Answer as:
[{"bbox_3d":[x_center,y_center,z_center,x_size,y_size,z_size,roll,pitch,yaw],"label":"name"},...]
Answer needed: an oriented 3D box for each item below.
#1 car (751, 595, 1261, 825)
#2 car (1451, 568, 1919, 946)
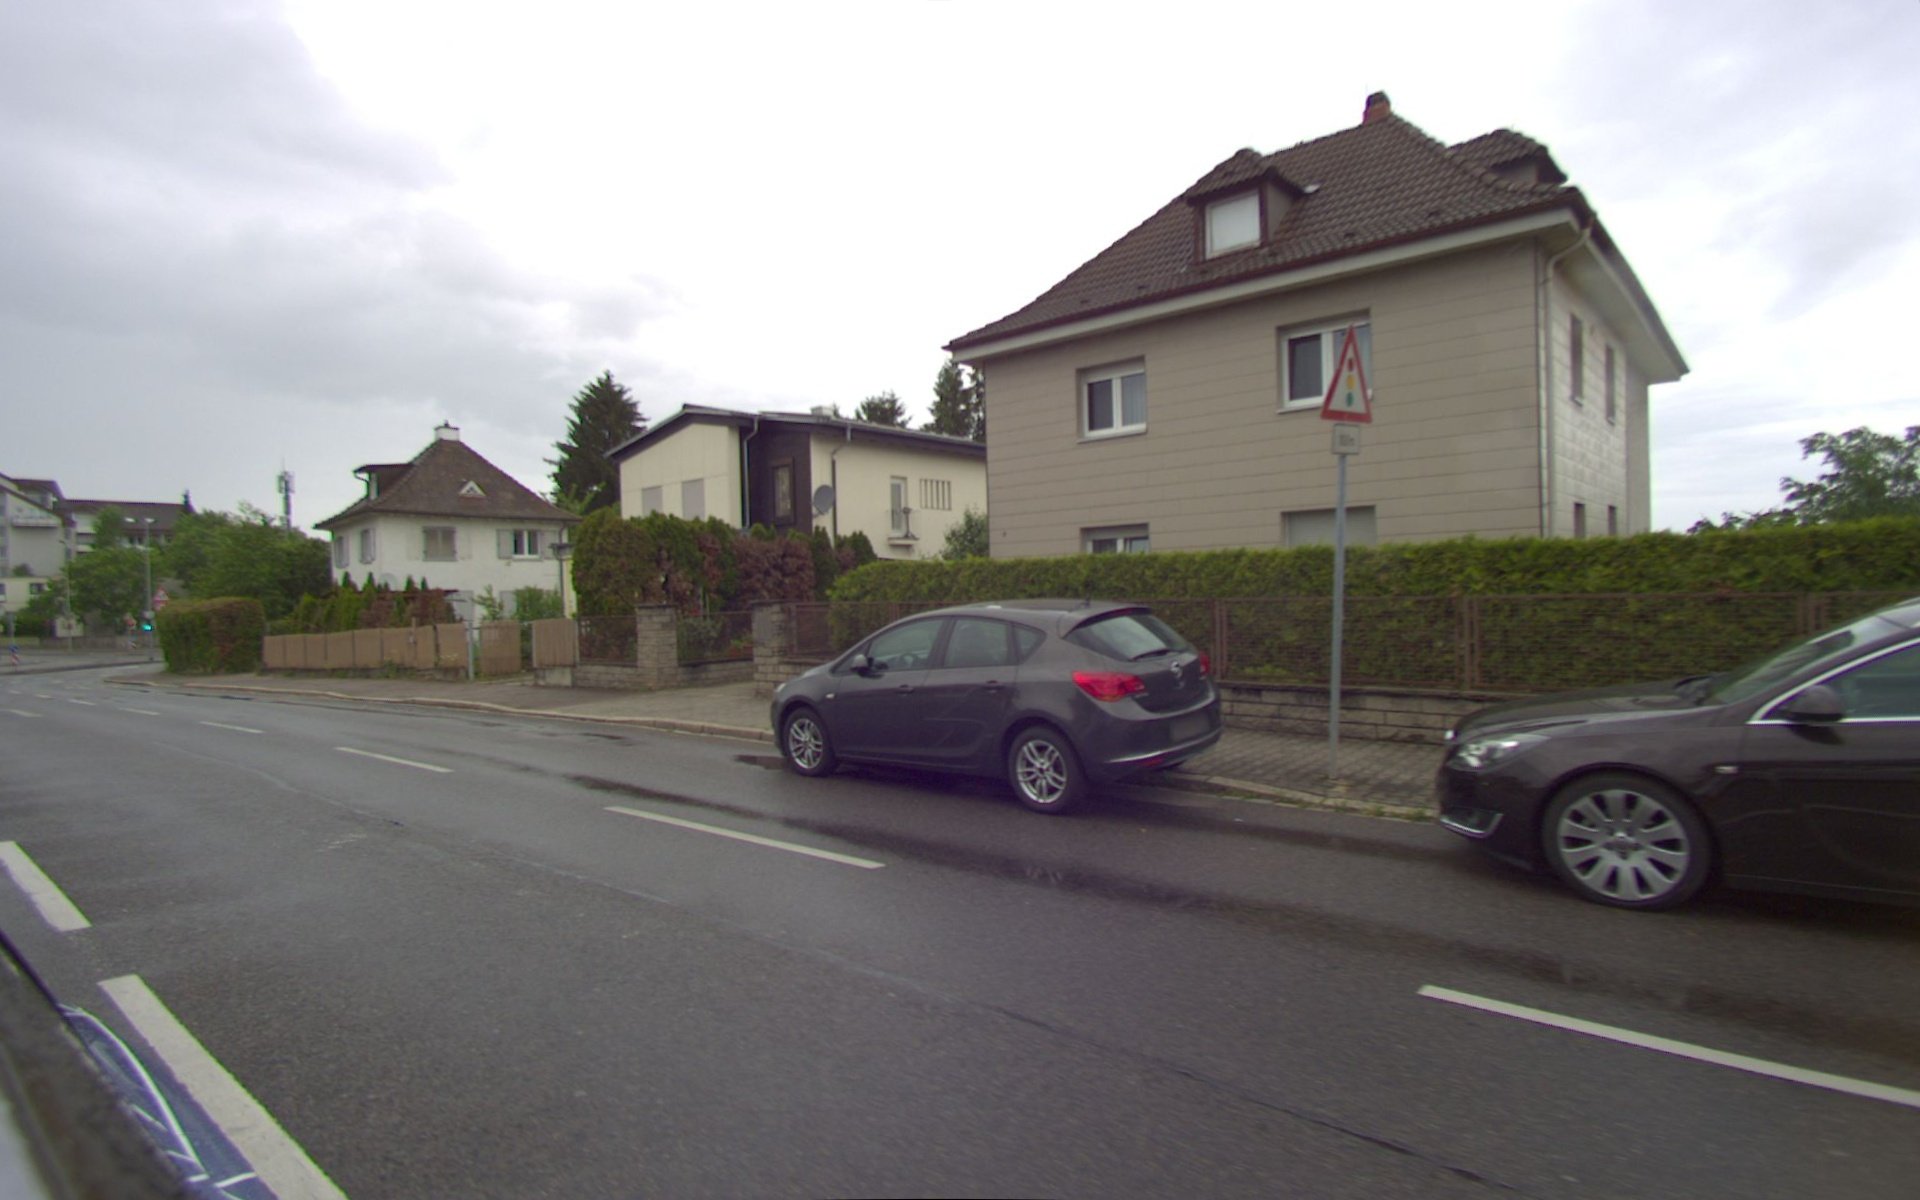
[{"bbox_3d":[0.200,0.719,8.498,4.129,1.450,1.731,-1,0,42],"label":"car"},{"bbox_3d":[4.818,0.620,4.441,4.523,1.528,1.733,-1,0,39],"label":"car"}]
